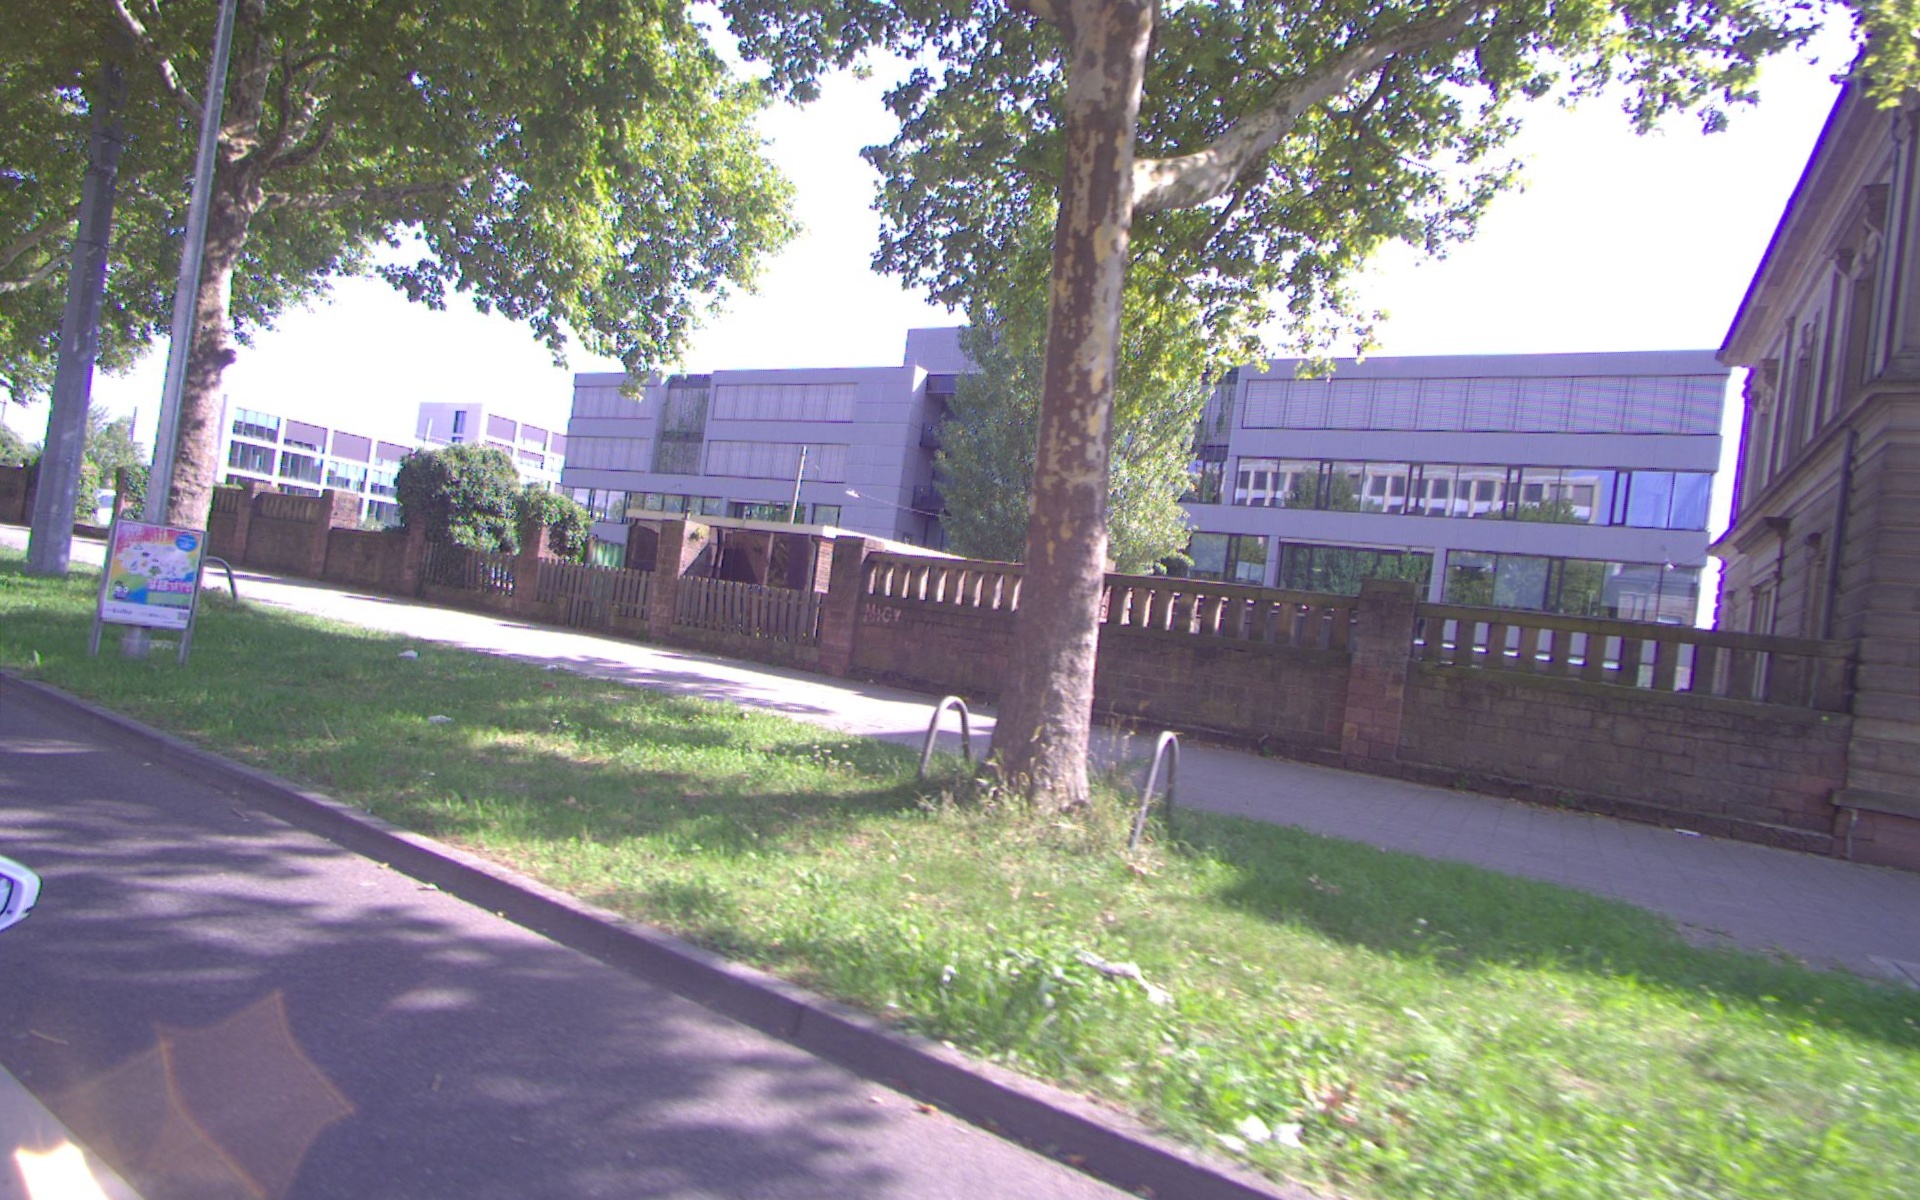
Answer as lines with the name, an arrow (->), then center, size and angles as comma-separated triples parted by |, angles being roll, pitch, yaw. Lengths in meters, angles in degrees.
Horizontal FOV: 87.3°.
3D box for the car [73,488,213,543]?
car -> -37.632, -3.860, 46.449 | 1.877, 1.754, 4.531 | 7, -1, 29
